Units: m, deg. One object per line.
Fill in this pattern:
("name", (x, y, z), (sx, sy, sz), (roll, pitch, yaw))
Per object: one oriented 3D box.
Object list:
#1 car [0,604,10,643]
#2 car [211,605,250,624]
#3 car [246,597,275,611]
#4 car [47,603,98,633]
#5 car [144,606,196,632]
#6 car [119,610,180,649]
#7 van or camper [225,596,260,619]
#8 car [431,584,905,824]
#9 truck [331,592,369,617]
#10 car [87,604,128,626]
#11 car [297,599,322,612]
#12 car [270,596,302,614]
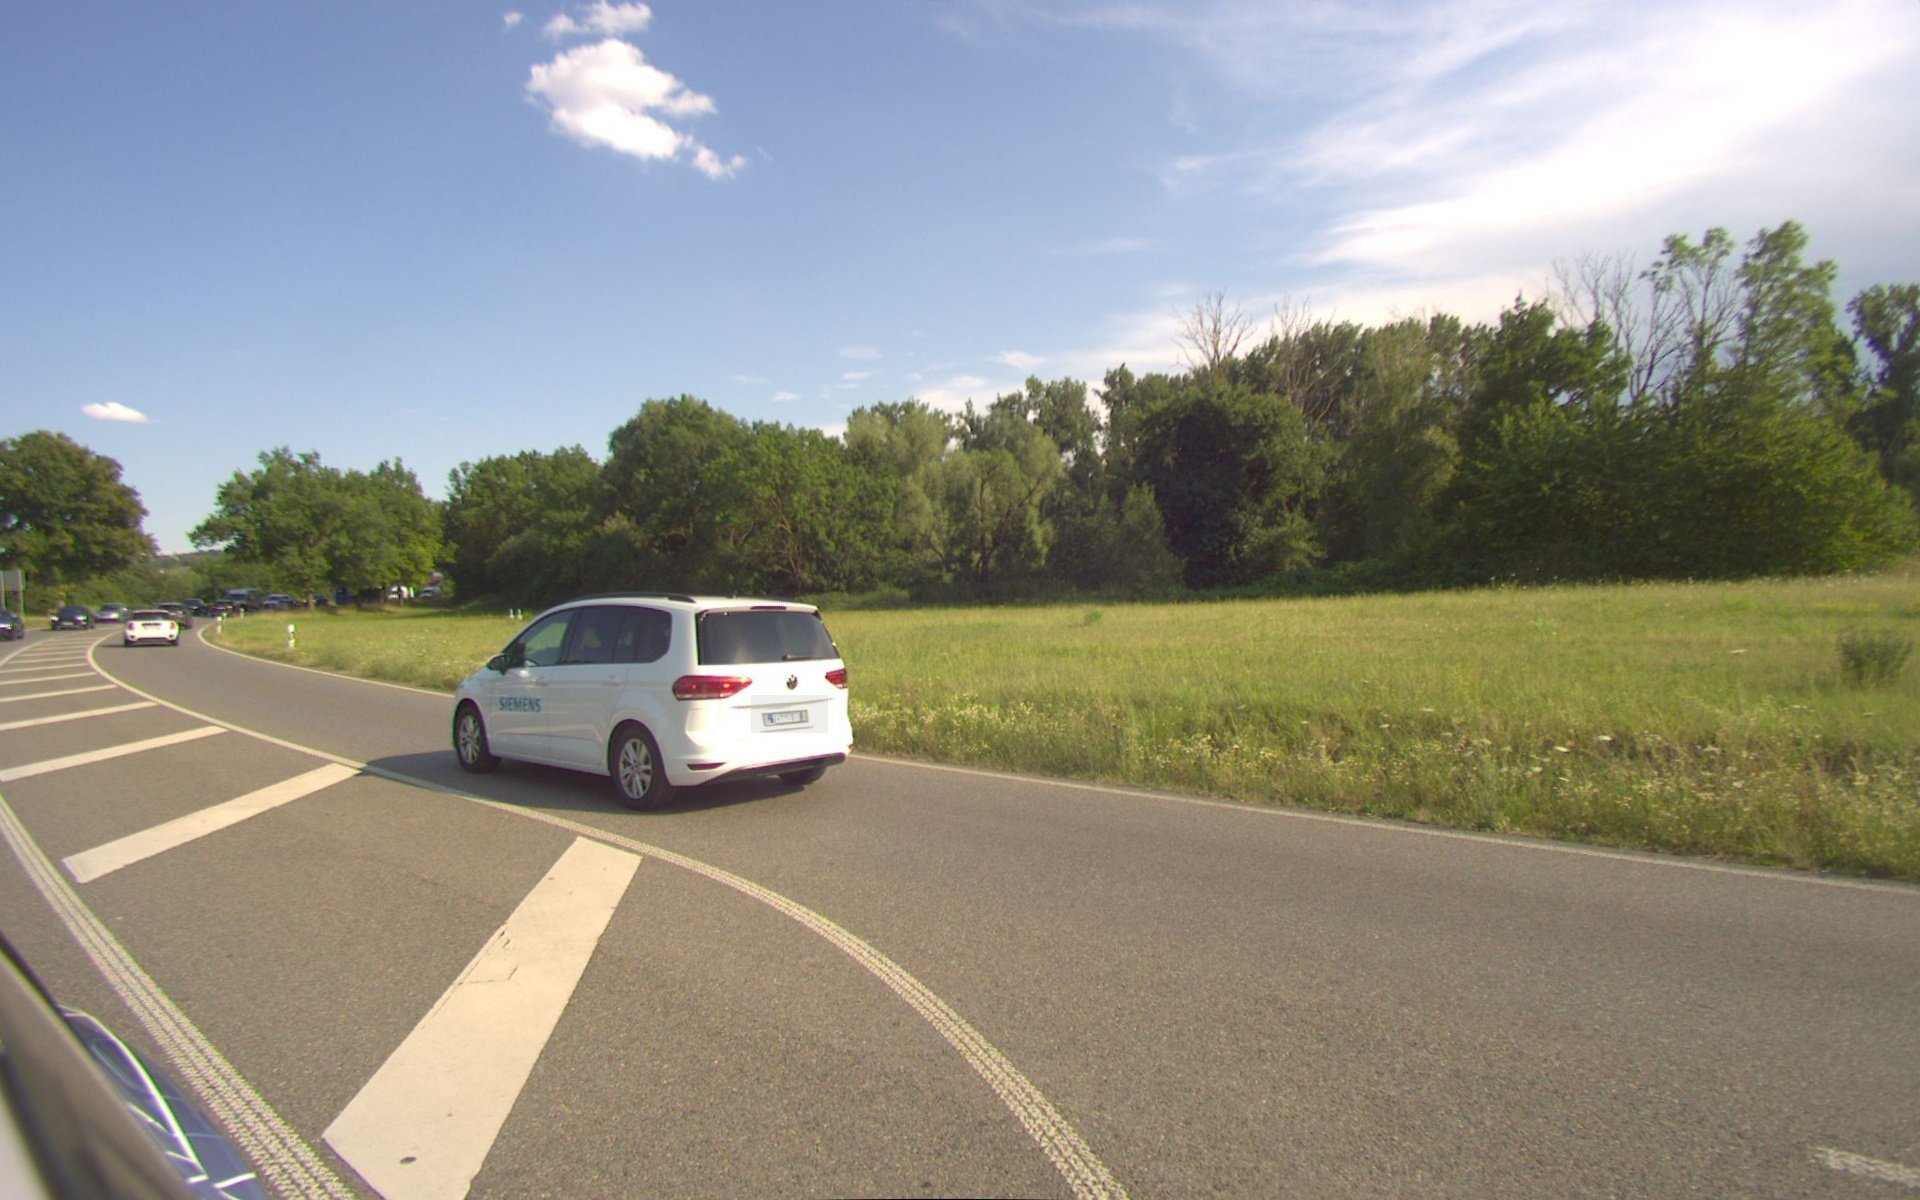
("car", (-44.465, 1.056, 45.956), (1.668, 1.741, 3.675), (0, -1, -40))
("car", (-67.328, 1.305, 93.417), (1.966, 1.563, 4.013), (-4, 2, -23))
("car", (-85.556, 0.443, 123.843), (1.966, 1.563, 4.013), (-3, 2, -20))
("car", (-53.999, 1.061, 61.635), (1.646, 1.741, 3.680), (0, 0, -30))
("car", (-49.582, 1.172, 63.592), (1.900, 1.598, 4.086), (0, -1, -28))
("car", (-32.112, 1.140, 40.169), (1.723, 1.478, 3.487), (0, -1, -36))
("van or camper", (-81.459, 0.793, 114.946), (2.000, 2.494, 5.094), (-3, 2, -23))
("car", (-2.713, 0.760, 8.858), (4.325, 1.598, 1.862), (-2, -2, 39))
("truck", (-85.103, 0.591, 141.320), (2.876, 3.237, 6.702), (-3, 1, -16))
("car", (-64.340, 1.109, 76.455), (1.607, 1.570, 3.428), (1, 0, -27))
("car", (-89.773, 0.768, 139.763), (1.966, 1.563, 4.013), (-3, 2, -19))
("car", (-77.535, 0.570, 116.504), (1.966, 1.871, 4.012), (-3, 2, -17))
